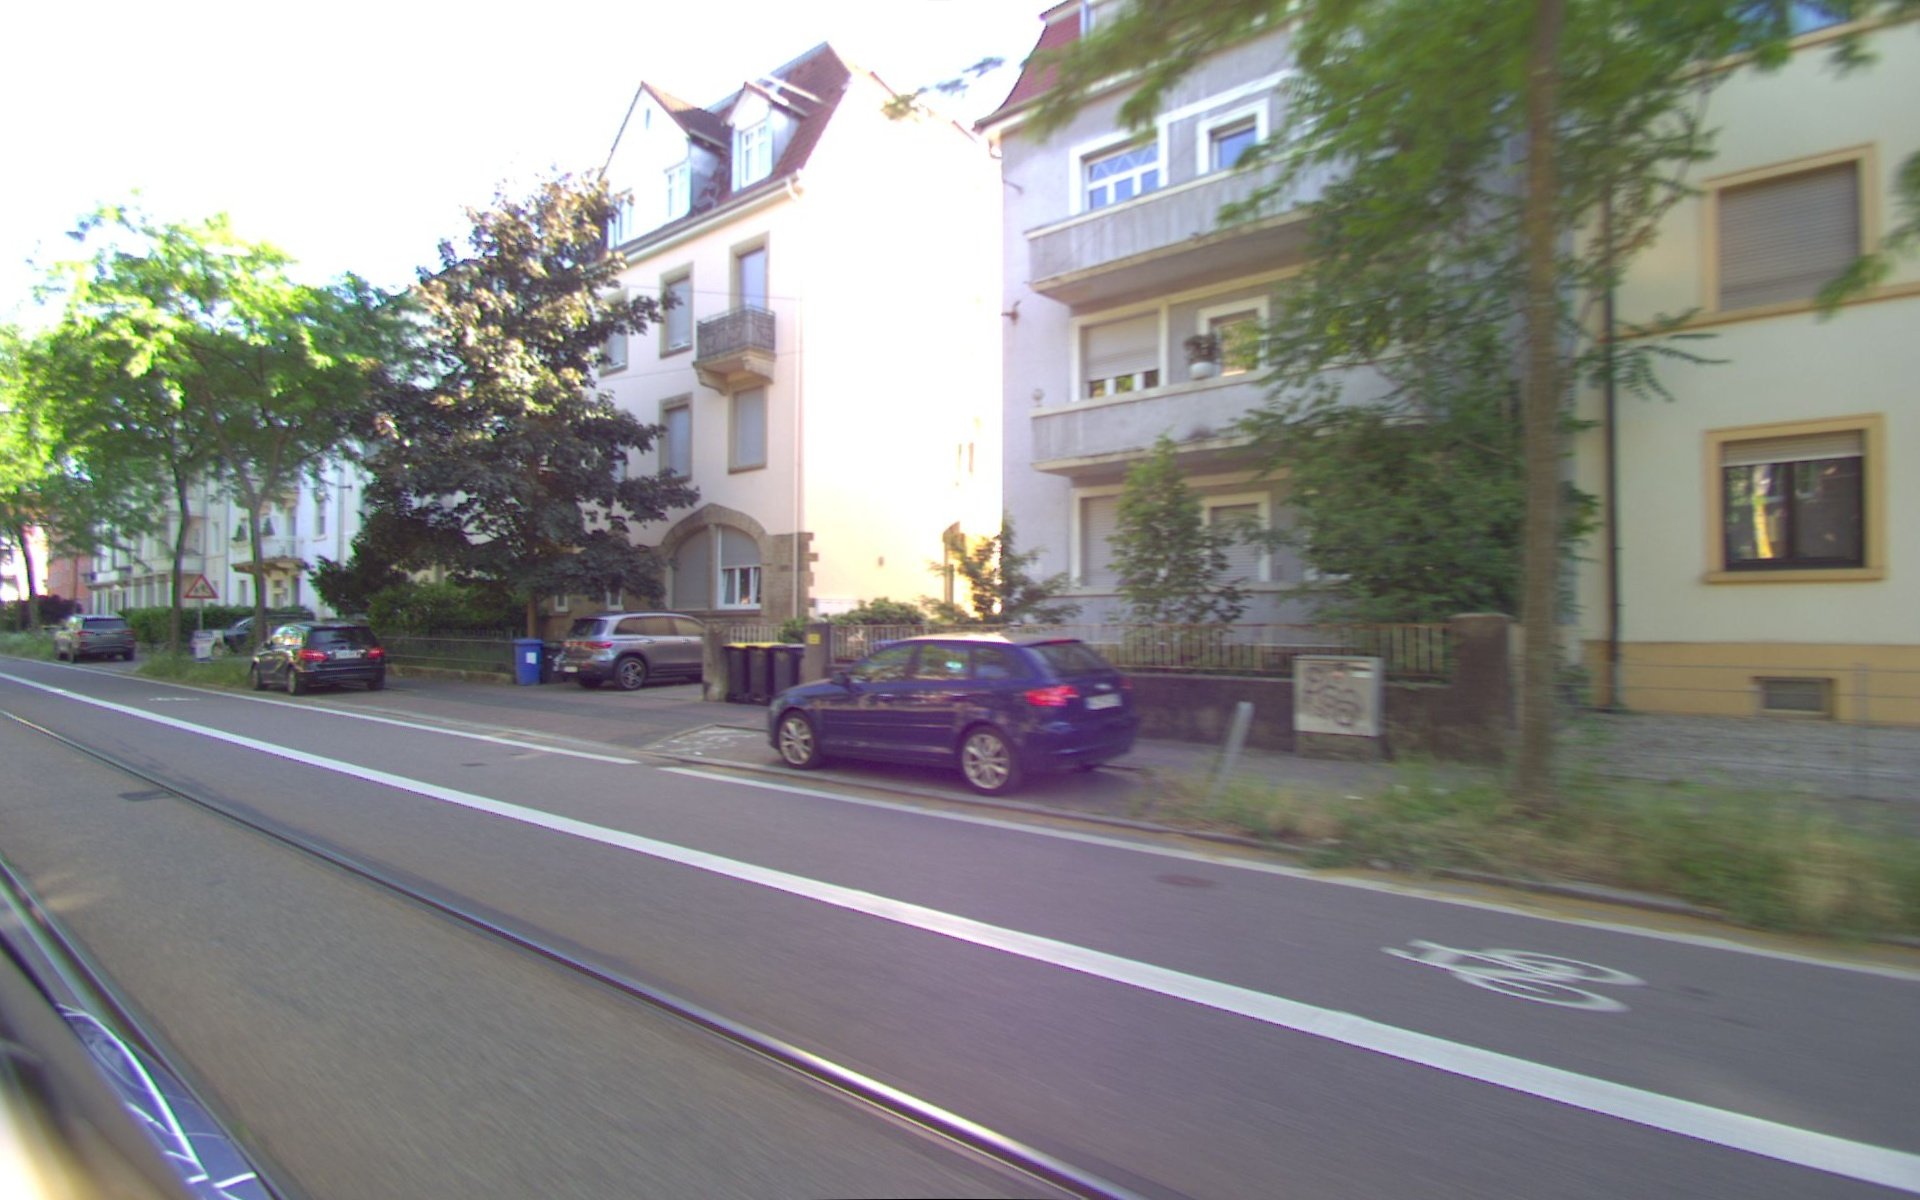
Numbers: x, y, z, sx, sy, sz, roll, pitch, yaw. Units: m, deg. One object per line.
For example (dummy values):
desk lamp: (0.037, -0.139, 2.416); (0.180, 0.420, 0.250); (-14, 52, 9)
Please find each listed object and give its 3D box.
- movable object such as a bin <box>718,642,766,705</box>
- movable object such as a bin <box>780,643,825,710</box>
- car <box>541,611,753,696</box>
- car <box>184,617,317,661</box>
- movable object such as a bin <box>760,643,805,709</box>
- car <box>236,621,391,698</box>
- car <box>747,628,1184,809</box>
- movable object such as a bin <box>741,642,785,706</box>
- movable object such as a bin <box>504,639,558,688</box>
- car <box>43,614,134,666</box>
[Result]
movable object such as a bin: (-3.841, 1.284, 17.822); (0.670, 1.074, 0.535); (-1, -2, 41)
movable object such as a bin: (-2.604, 1.252, 16.750); (0.510, 1.074, 0.531); (-1, -2, 41)
car: (-6.882, 1.103, 22.580); (1.981, 1.671, 4.125); (-1, -1, 39)
car: (-29.881, 1.590, 42.690); (1.952, 1.673, 4.255); (-1, 0, 42)
movable object such as a bin: (-2.994, 1.263, 17.090); (0.510, 1.074, 0.541); (-1, -2, 41)
car: (-14.743, 1.279, 22.986); (4.483, 1.553, 1.758); (-1, -1, 41)
car: (-0.106, 1.015, 10.224); (4.330, 1.417, 1.688); (-1, -1, 40)
movable object such as a bin: (-3.388, 1.260, 17.433); (0.510, 1.074, 0.541); (-1, -2, 41)
movable object such as a bin: (-9.799, 1.432, 23.120); (0.813, 1.074, 0.866); (-1, -2, 41)
car: (-34.075, 1.525, 39.527); (4.766, 1.836, 1.852); (-1, 0, 39)
